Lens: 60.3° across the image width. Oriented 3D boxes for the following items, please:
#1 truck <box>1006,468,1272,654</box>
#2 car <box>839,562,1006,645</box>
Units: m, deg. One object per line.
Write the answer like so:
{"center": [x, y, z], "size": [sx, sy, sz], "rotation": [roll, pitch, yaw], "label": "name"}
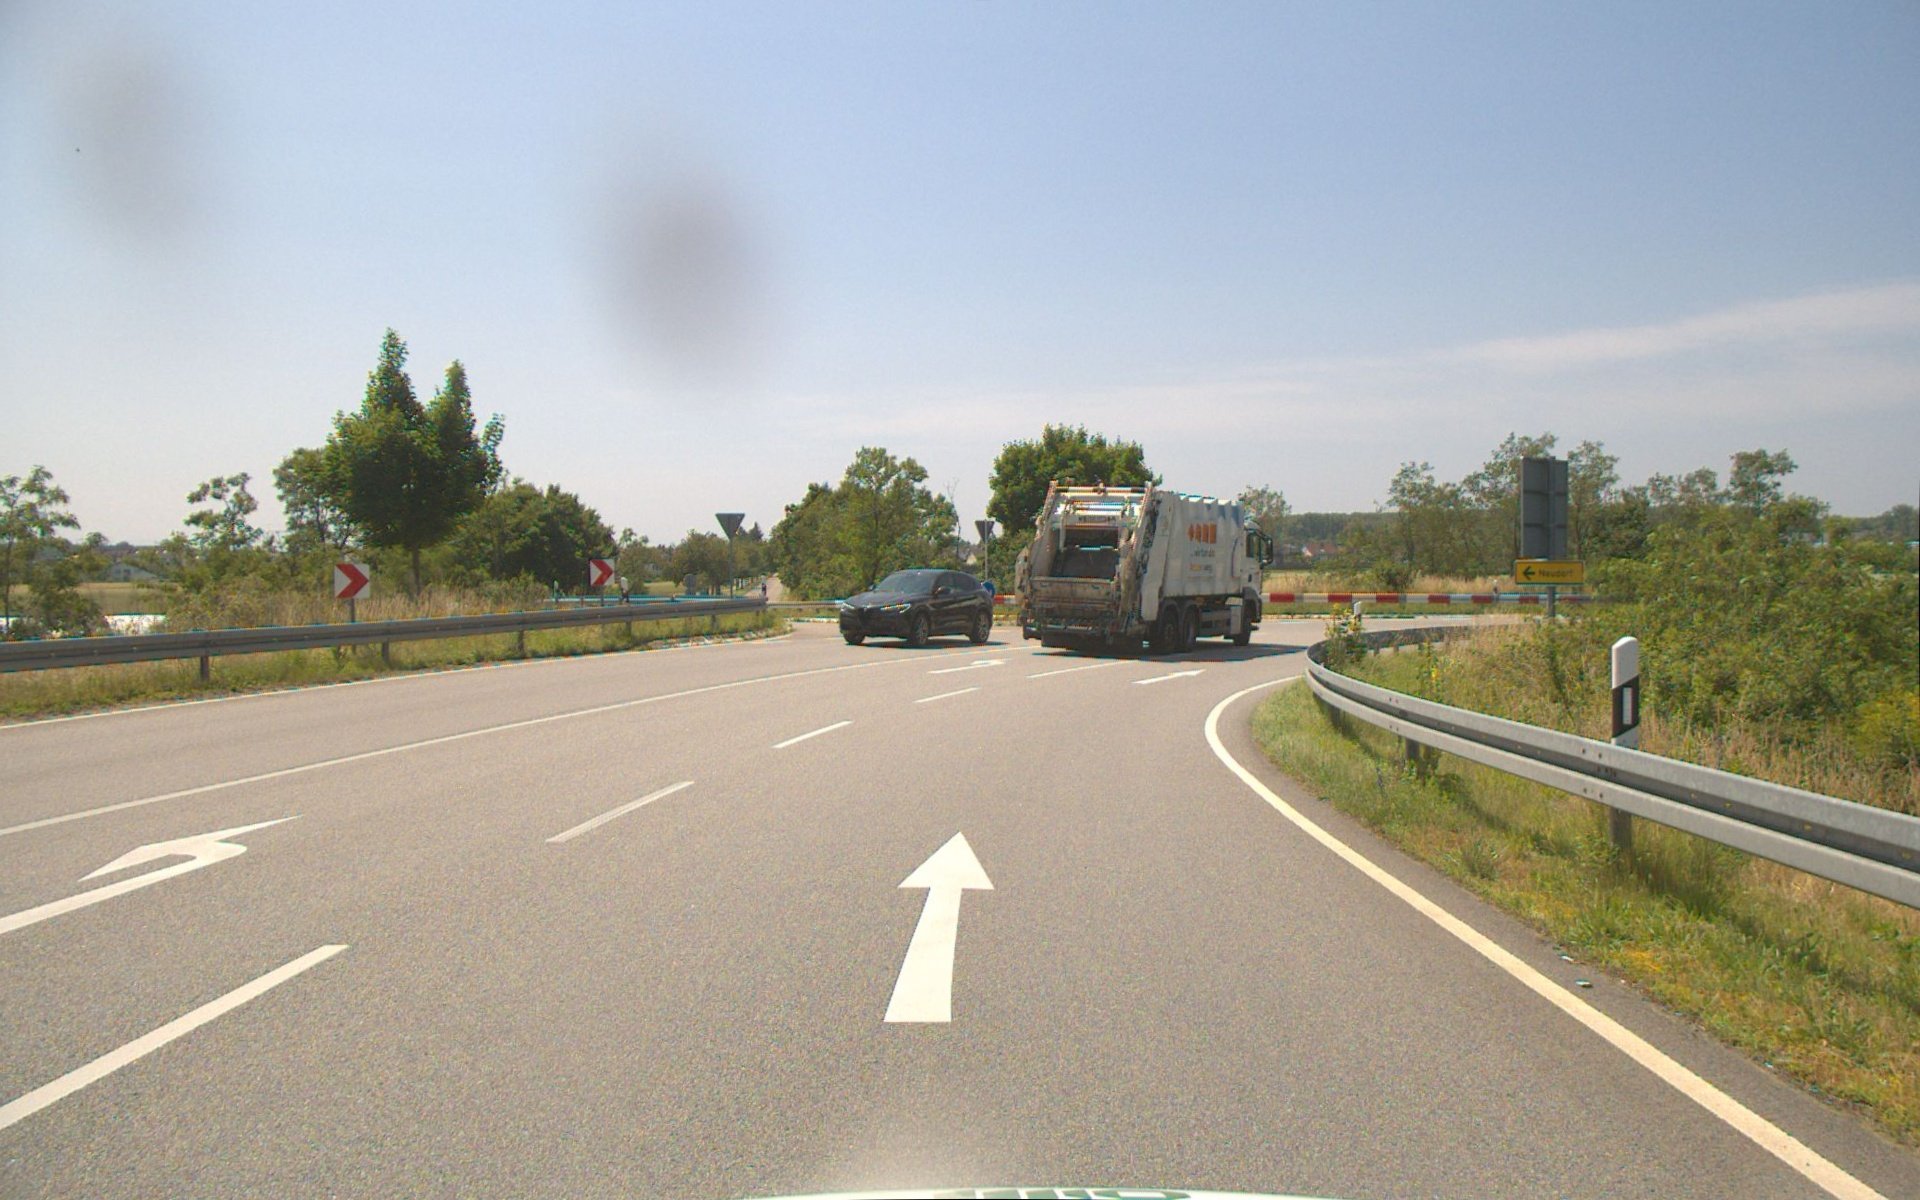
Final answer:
{"center": [4.460, -0.802, 38.403], "size": [2.759, 3.733, 9.935], "rotation": [1, 0, 27], "label": "truck"}
{"center": [-0.755, 0.053, 37.123], "size": [1.679, 1.686, 4.561], "rotation": [3, 1, 28], "label": "car"}
